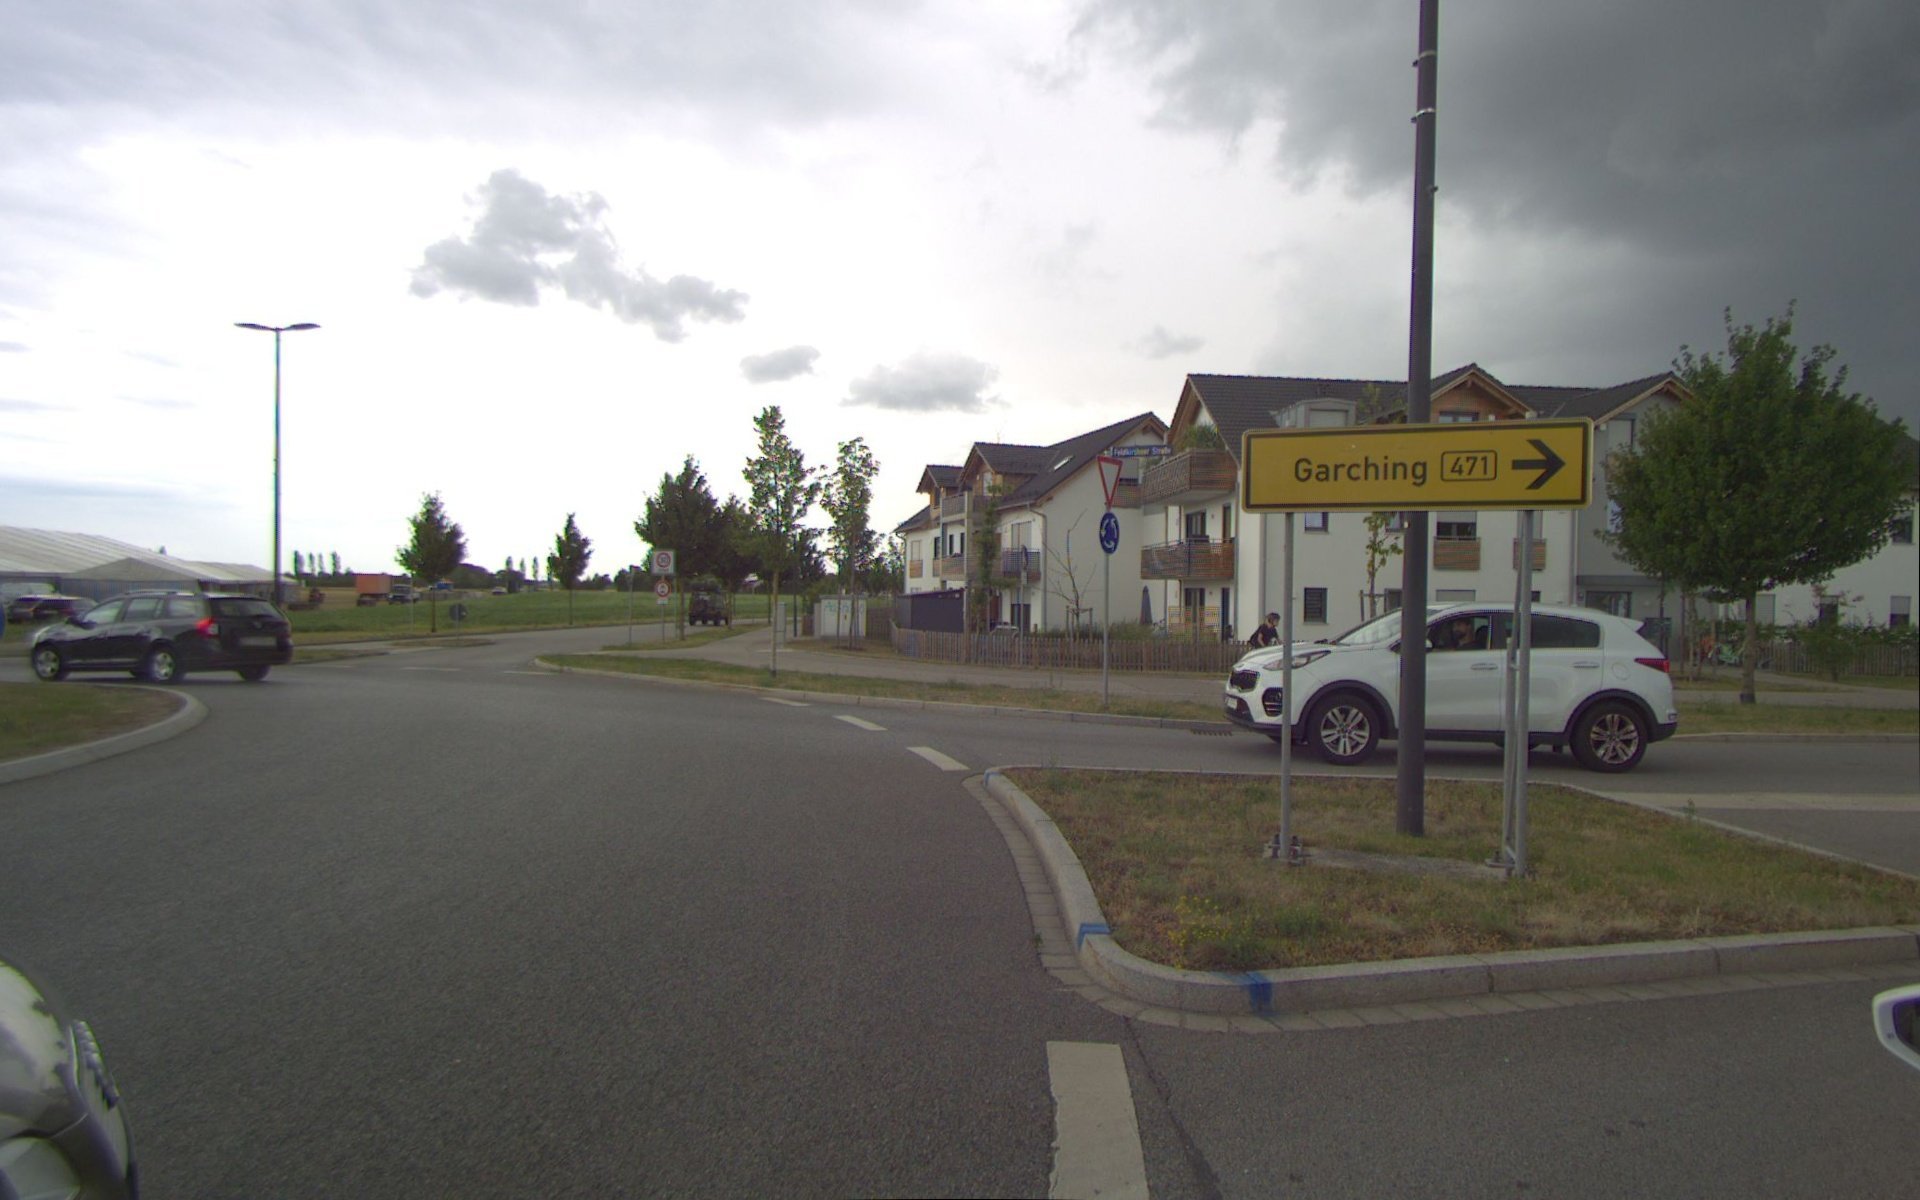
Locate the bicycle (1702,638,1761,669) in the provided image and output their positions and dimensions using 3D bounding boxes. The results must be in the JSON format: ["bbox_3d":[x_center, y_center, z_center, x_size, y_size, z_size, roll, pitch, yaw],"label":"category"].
[{"bbox_3d":[23.168,1.608,30.183,1.517,0.855,0.368,1,3,-5],"label":"bicycle"}]

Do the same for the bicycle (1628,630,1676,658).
[{"bbox_3d":[22.823,1.448,33.126,1.312,0.855,0.368,1,3,-5],"label":"bicycle"}]

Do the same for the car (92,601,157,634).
[{"bbox_3d":[-43.841,0.894,52.802,1.709,1.574,3.973,1,0,-26],"label":"car"}]

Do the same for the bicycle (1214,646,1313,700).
[{"bbox_3d":[5.599,1.338,18.587,1.680,0.959,0.497,1,-1,-2],"label":"bicycle"}]

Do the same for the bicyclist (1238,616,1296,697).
[{"bbox_3d":[5.689,1.038,18.644,0.852,1.466,0.724,0,-1,-1],"label":"bicyclist"}]

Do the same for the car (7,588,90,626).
[{"bbox_3d":[-41.791,0.309,46.046,3.805,1.628,1.633,1,1,28],"label":"car"}]

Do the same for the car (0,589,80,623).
[{"bbox_3d":[-46.377,0.264,50.628,1.808,1.628,3.810,1,0,-21],"label":"car"}]

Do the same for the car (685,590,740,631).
[{"bbox_3d":[-14.974,0.567,61.017,1.960,2.284,4.572,1,1,4],"label":"car"}]

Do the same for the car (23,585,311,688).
[{"bbox_3d":[-13.719,0.603,17.431,4.193,1.584,1.775,1,-1,16],"label":"car"}]

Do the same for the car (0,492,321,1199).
[{"bbox_3d":[-2.957,0.608,0.182,1.758,1.484,4.515,0,-1,43],"label":"car"}]

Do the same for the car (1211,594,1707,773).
[{"bbox_3d":[5.043,0.819,10.602,4.362,1.647,1.714,1,-1,2],"label":"car"}]

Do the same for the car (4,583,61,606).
[{"bbox_3d":[-69.018,-0.416,74.796,1.808,1.628,3.810,1,1,-21],"label":"car"}]

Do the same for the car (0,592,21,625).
[{"bbox_3d":[-48.717,0.402,49.813,1.808,1.628,3.810,1,0,-21],"label":"car"}]

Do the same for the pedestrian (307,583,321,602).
[{"bbox_3d":[-71.426,-0.827,111.062,1.035,2.041,1.056,1,1,-18],"label":"pedestrian"}]
